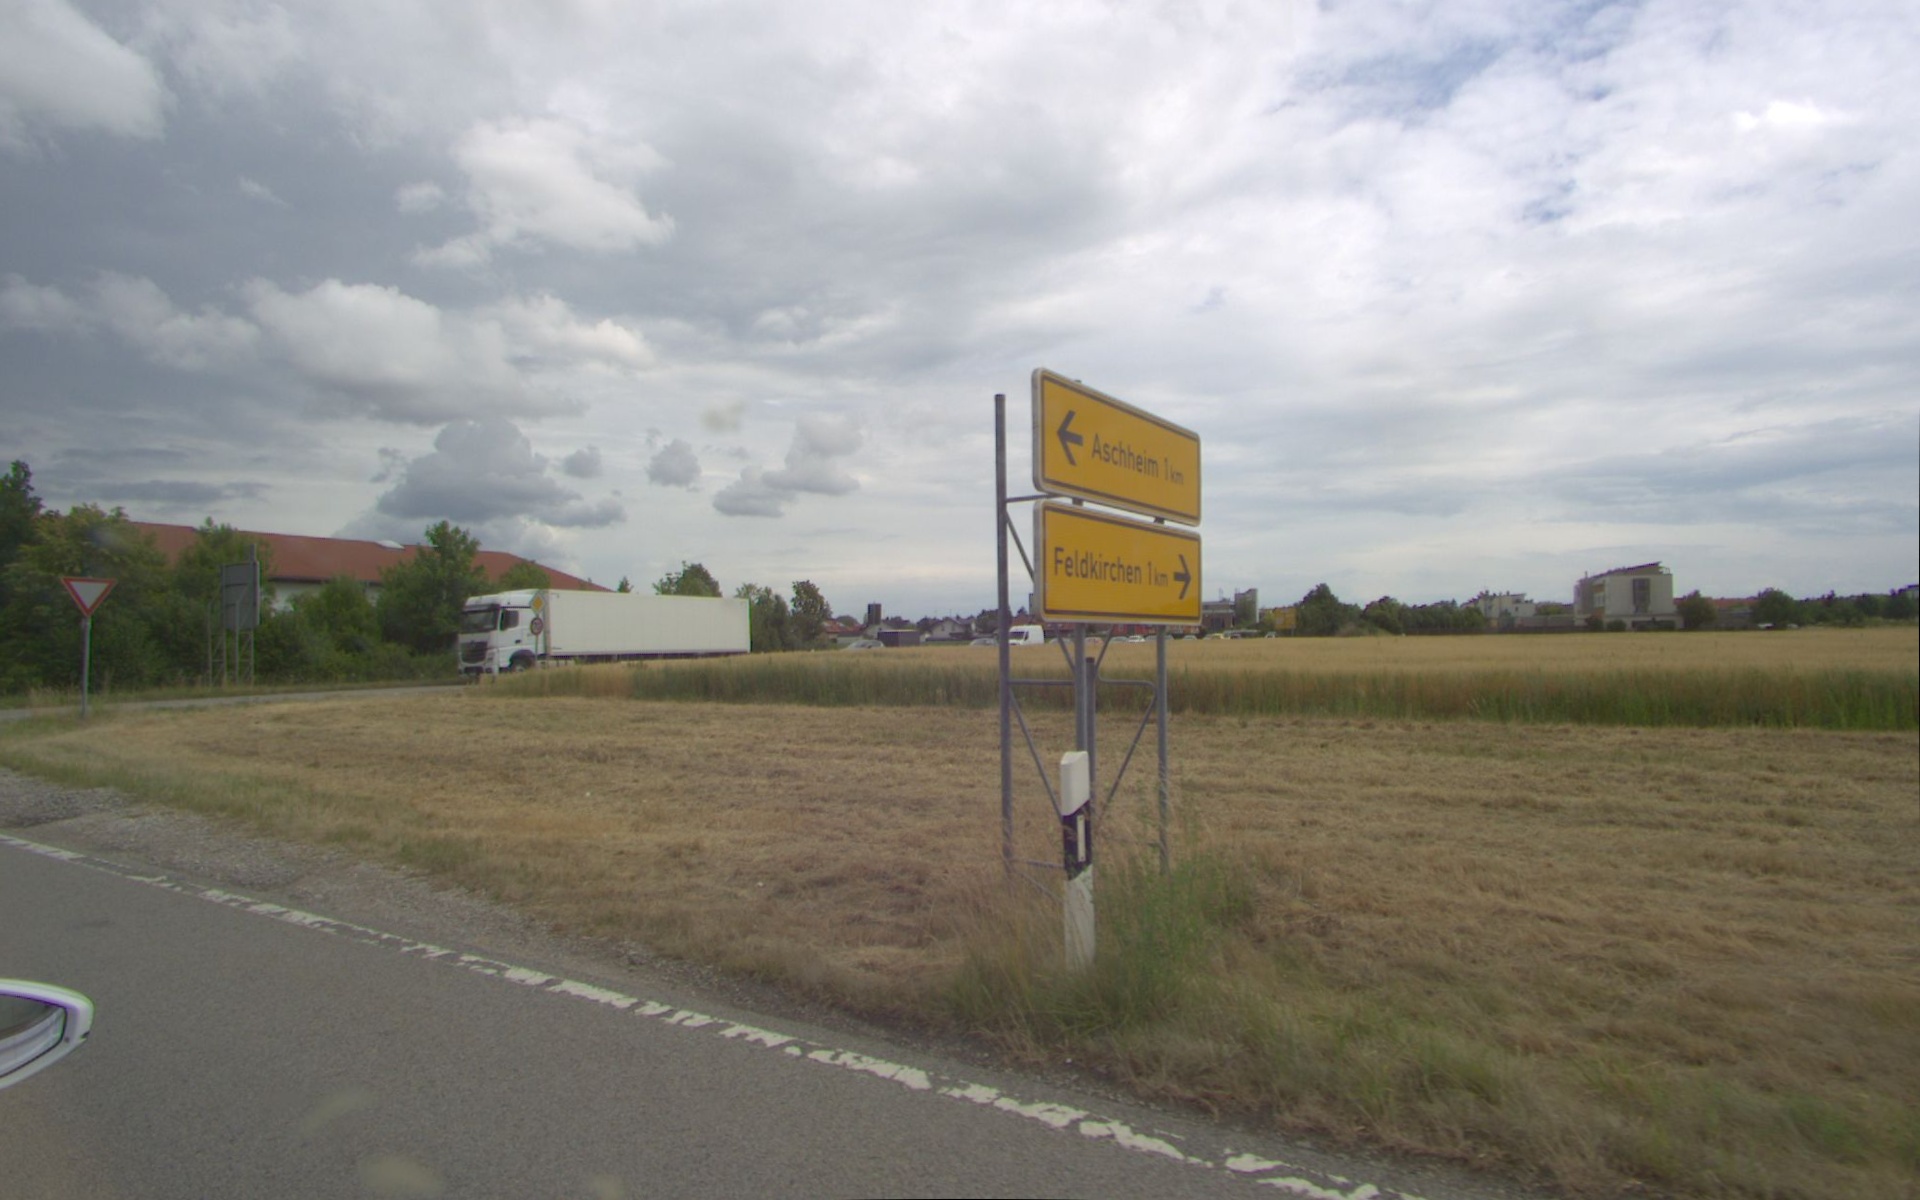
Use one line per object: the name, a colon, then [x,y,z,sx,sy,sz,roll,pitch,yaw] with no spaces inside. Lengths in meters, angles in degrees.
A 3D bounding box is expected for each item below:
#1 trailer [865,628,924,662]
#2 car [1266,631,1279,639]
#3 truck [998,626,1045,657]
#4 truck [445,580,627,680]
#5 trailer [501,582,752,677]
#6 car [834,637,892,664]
trailer: [-4.670,3.237,72.368,2.379,2.321,4.383,-3,-2,25]
car: [63.282,7.064,202.963,1.827,1.485,3.985,-1,-2,27]
truck: [5.664,3.758,90.934,1.969,2.607,5.995,-3,-3,27]
truck: [-18.874,1.403,45.105,3.081,4.064,7.282,-3,-3,27]
trailer: [-16.143,1.541,50.534,3.080,4.064,13.840,-3,-3,27]
car: [-6.559,3.449,68.310,1.968,1.703,4.466,-3,-2,24]
